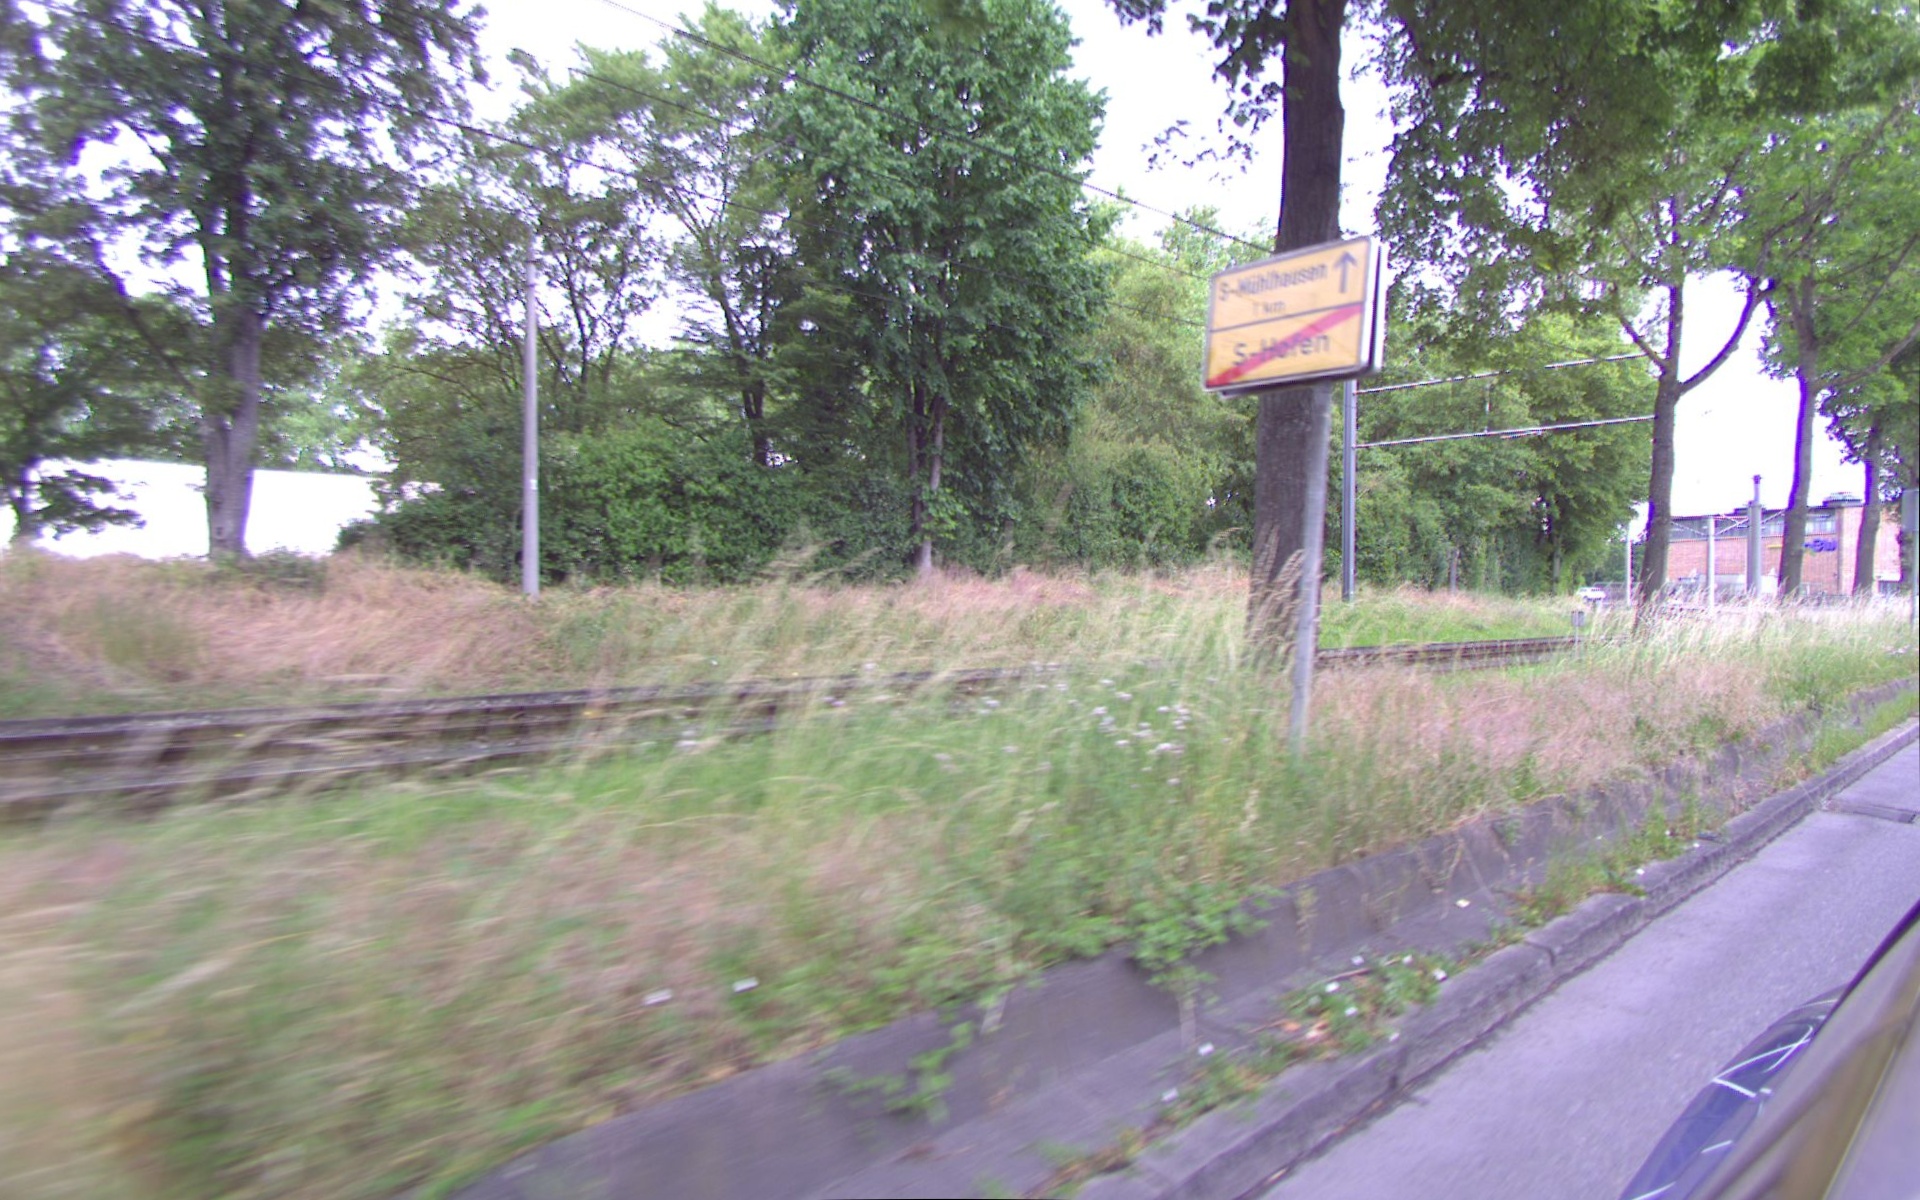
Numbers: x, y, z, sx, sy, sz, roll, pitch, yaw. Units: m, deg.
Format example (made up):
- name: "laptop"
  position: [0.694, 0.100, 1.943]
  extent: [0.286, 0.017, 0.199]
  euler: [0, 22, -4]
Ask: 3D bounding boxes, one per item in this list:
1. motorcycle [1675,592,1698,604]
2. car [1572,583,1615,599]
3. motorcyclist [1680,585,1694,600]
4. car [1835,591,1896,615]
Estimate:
- name: "motorcycle"
  position: [64.903, -0.215, 90.440]
  extent: [0.671, 1.074, 1.721]
  euler: [0, 1, -4]
- name: "car"
  position: [64.315, -0.883, 102.852]
  extent: [1.717, 1.506, 3.659]
  euler: [-1, 0, -7]
- name: "motorcyclist"
  position: [64.893, -0.653, 90.304]
  extent: [0.609, 1.373, 0.841]
  euler: [0, 0, -3]
- name: "car"
  position: [60.949, 0.197, 68.193]
  extent: [1.563, 1.505, 3.676]
  euler: [-1, -1, 16]
